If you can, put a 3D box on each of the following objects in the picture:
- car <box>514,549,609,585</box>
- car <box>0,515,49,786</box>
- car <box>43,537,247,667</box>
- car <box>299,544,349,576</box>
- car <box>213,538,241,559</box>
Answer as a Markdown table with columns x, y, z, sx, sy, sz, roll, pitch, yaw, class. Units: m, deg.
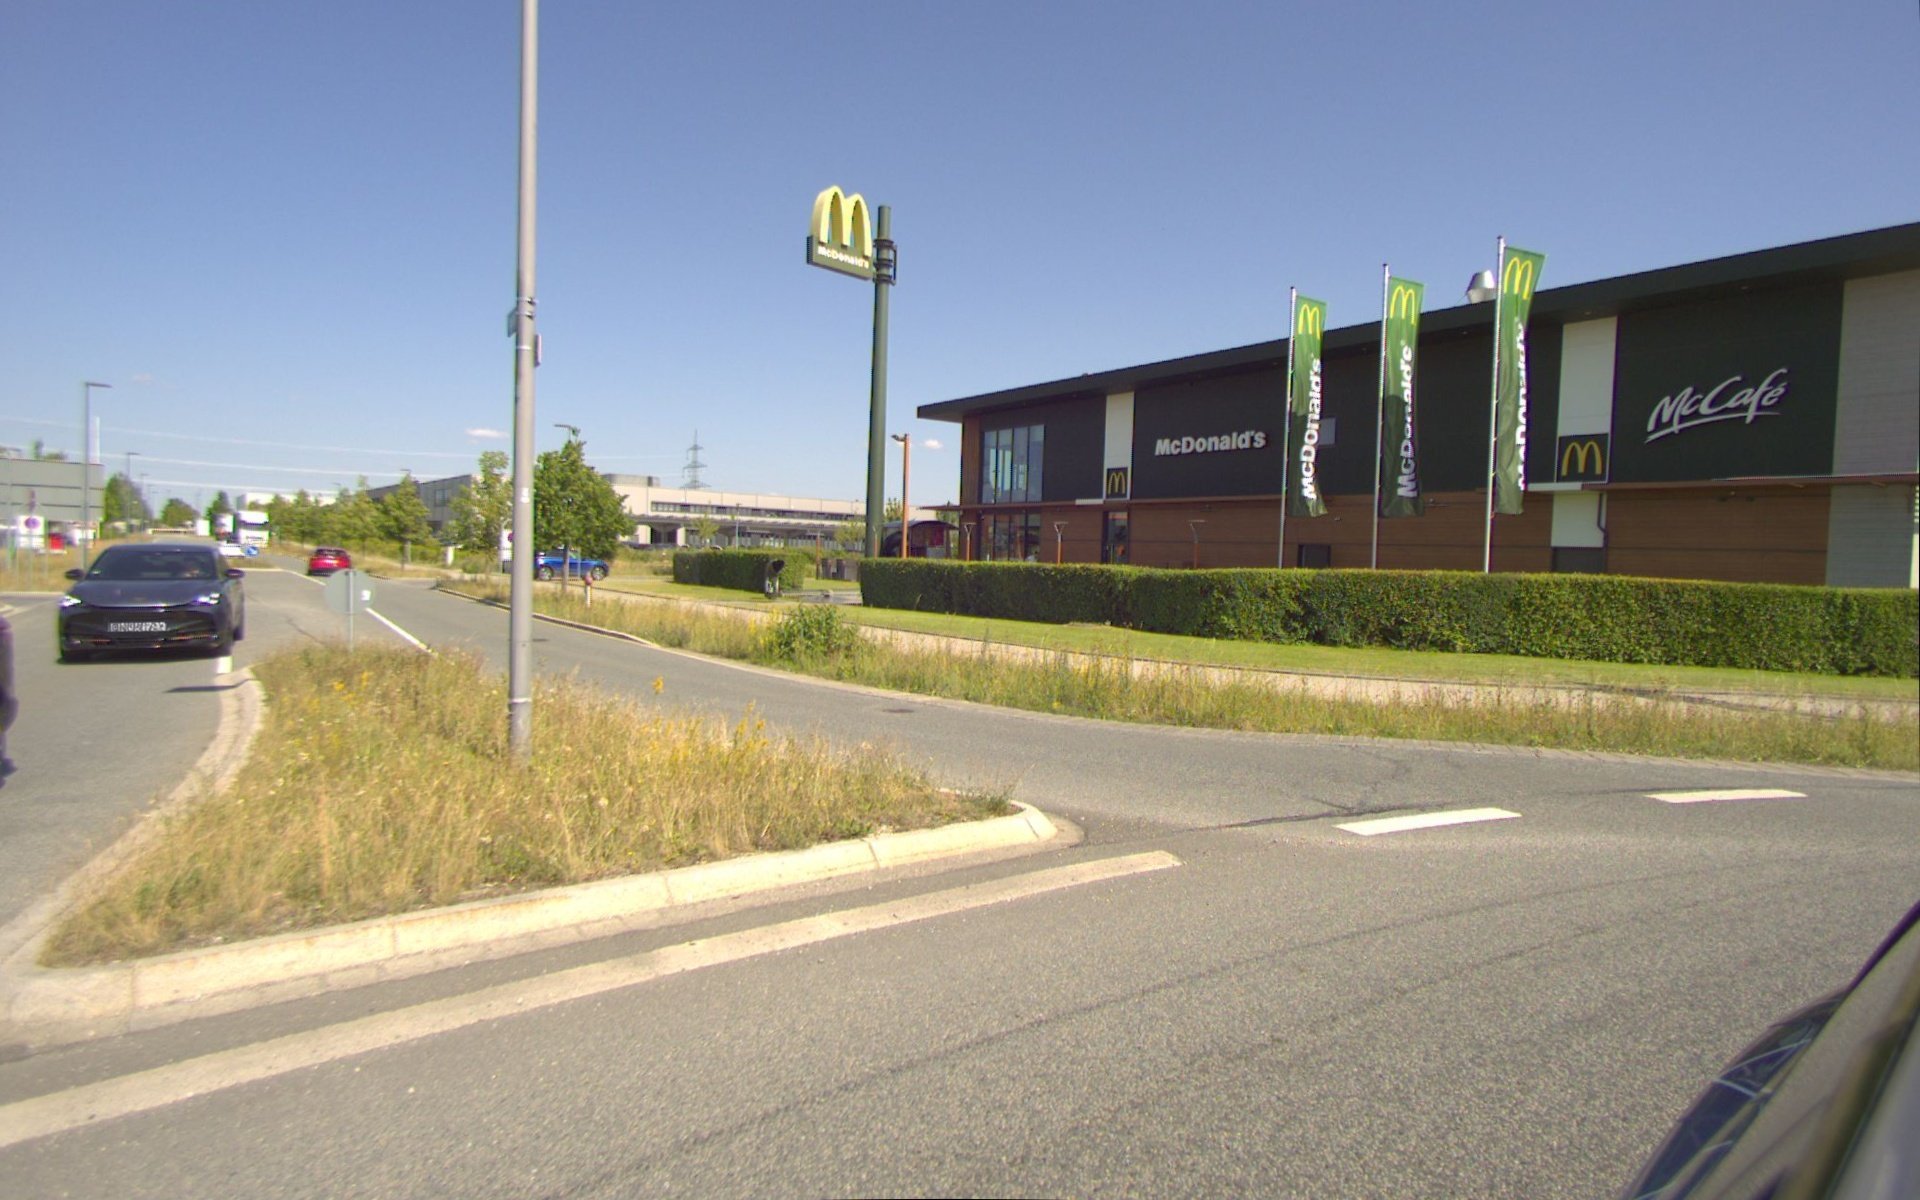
| x | y | z | sx | sy | sz | roll | pitch | yaw | class |
| --- | --- | --- | --- | --- | --- | --- | --- | --- | --- |
| -20.017 | -1.634 | 50.881 | 4.010 | 1.656 | 1.854 | 1 | 1 | -43 | car |
| -6.356 | 0.379 | 4.635 | 1.917 | 1.727 | 4.636 | -1 | 2 | -25 | car |
| -12.098 | -0.114 | 15.341 | 2.039 | 1.646 | 4.699 | -1 | 4 | -35 | car |
| -31.846 | -2.035 | 50.632 | 1.774 | 1.433 | 4.118 | 2 | 2 | -36 | car |
| -54.928 | -3.880 | 75.807 | 1.487 | 1.458 | 3.348 | 0 | 3 | -39 | car |
